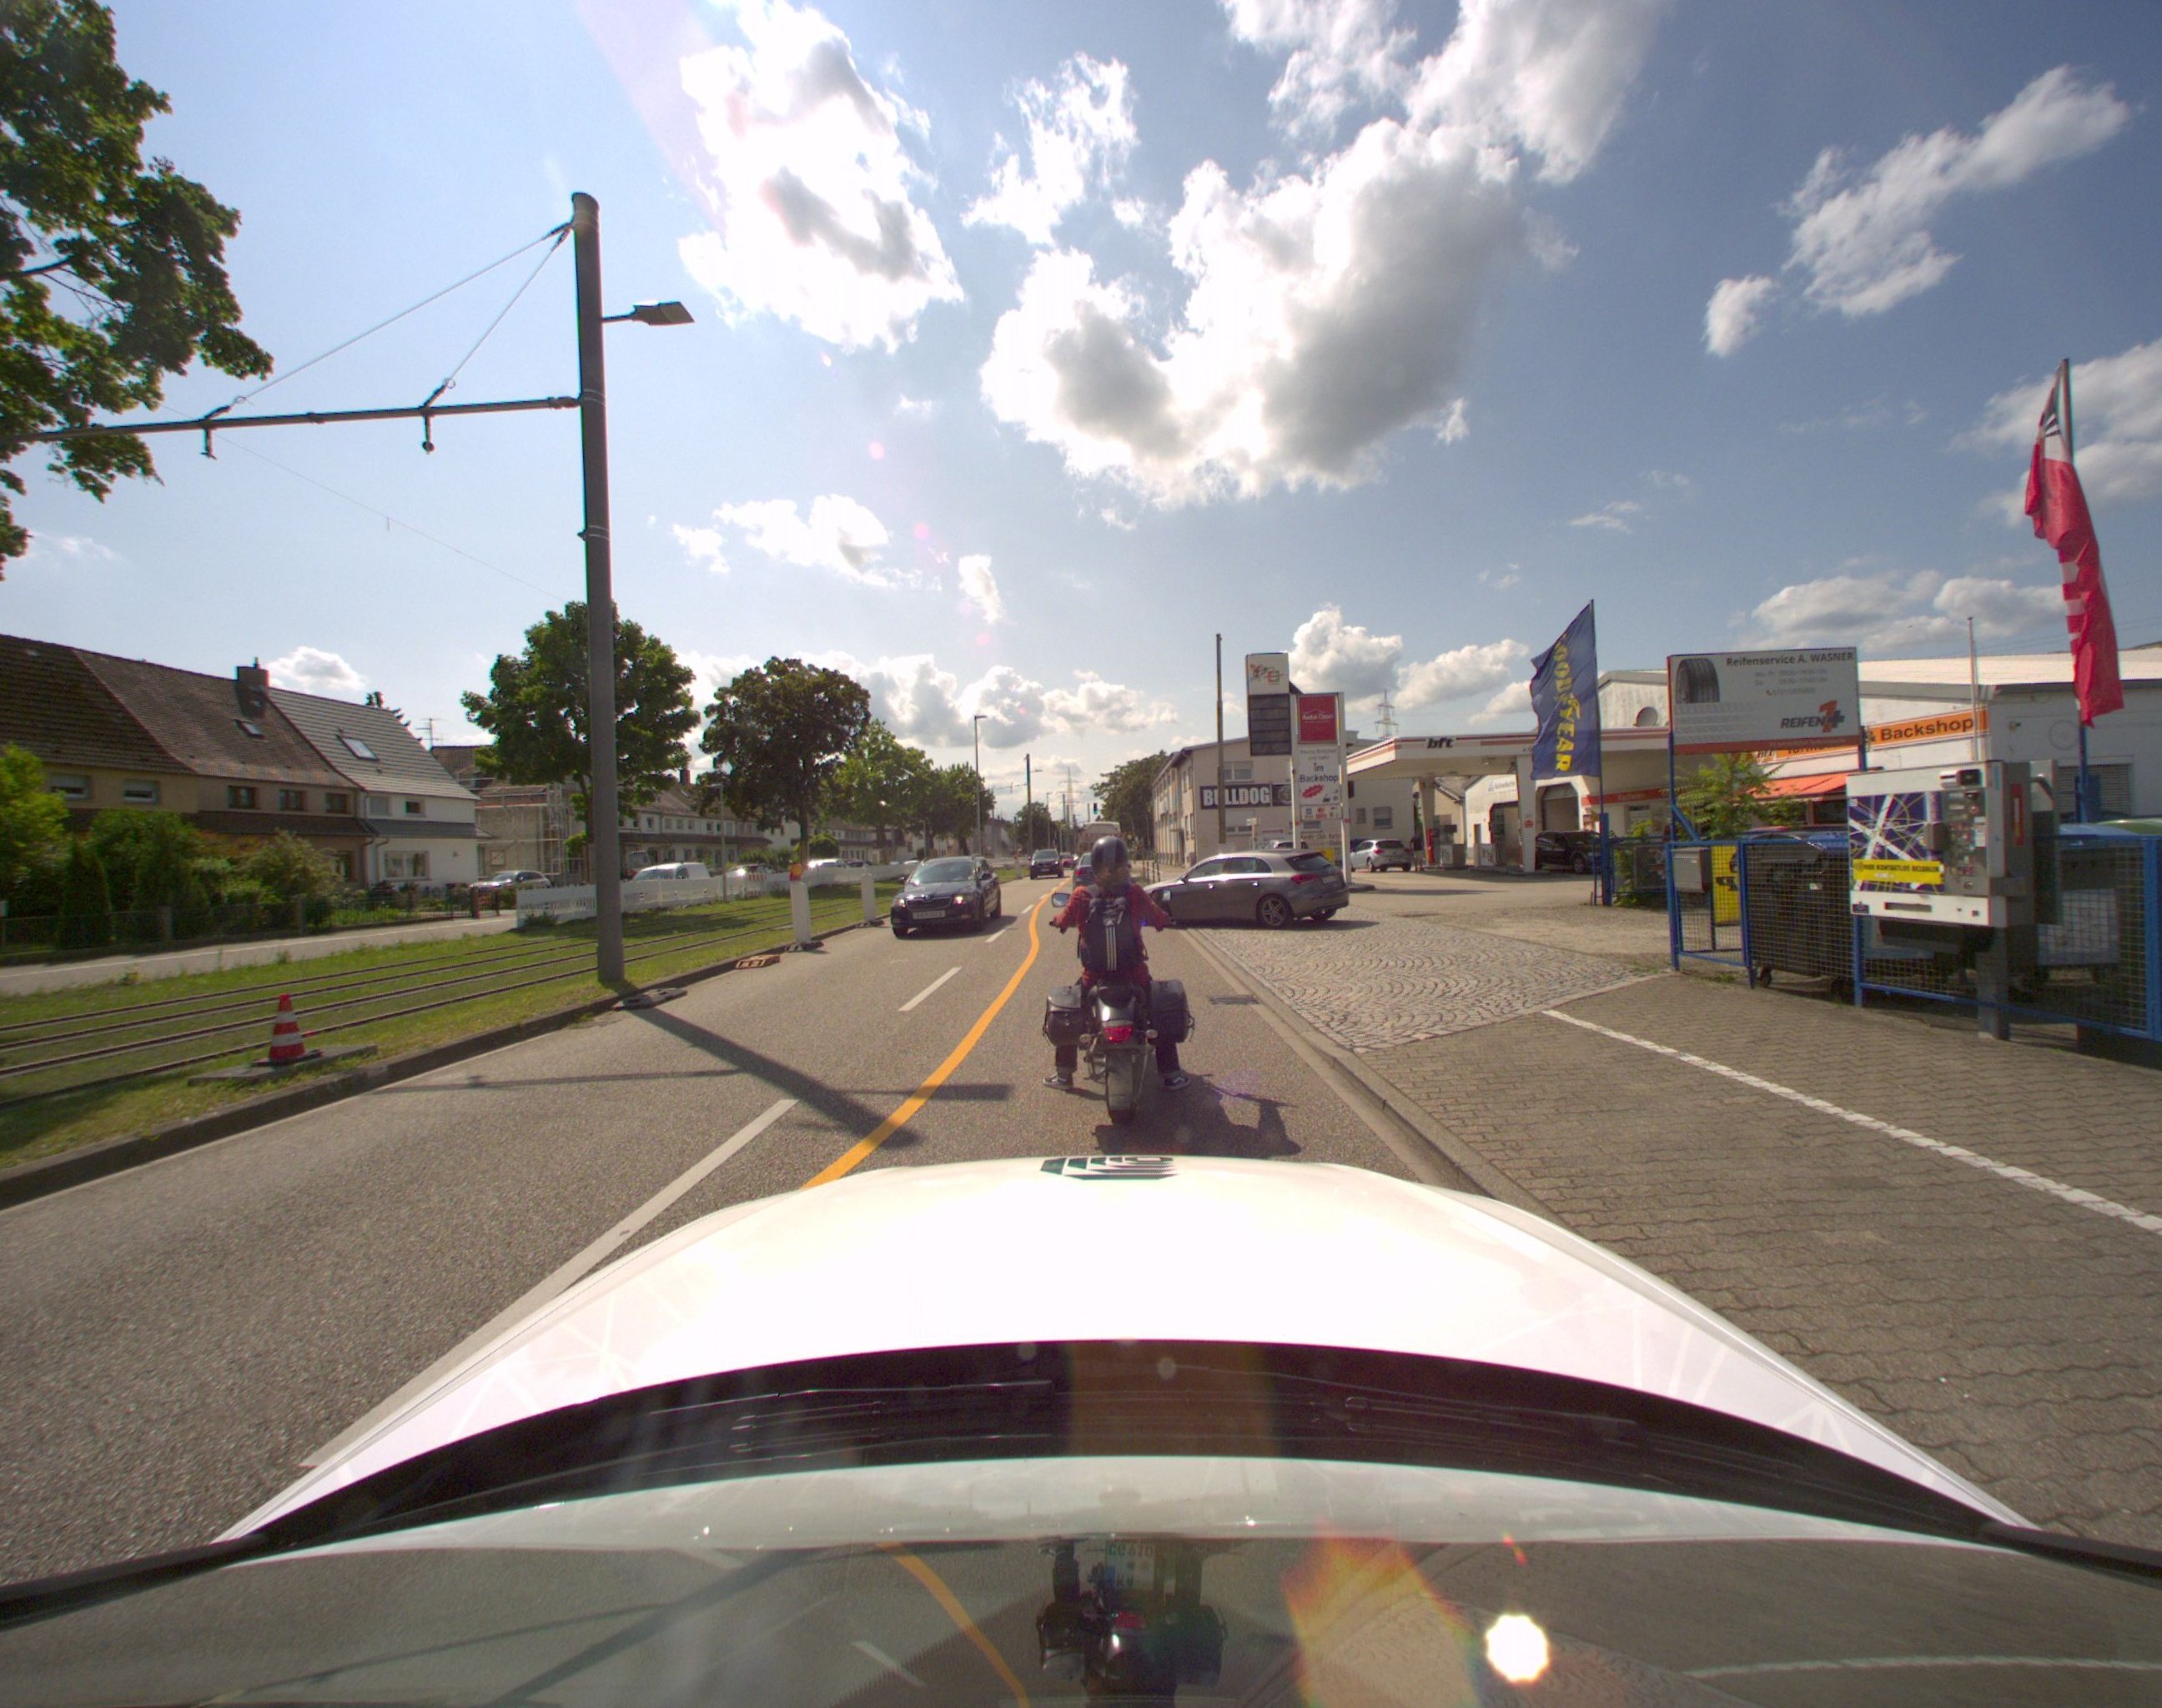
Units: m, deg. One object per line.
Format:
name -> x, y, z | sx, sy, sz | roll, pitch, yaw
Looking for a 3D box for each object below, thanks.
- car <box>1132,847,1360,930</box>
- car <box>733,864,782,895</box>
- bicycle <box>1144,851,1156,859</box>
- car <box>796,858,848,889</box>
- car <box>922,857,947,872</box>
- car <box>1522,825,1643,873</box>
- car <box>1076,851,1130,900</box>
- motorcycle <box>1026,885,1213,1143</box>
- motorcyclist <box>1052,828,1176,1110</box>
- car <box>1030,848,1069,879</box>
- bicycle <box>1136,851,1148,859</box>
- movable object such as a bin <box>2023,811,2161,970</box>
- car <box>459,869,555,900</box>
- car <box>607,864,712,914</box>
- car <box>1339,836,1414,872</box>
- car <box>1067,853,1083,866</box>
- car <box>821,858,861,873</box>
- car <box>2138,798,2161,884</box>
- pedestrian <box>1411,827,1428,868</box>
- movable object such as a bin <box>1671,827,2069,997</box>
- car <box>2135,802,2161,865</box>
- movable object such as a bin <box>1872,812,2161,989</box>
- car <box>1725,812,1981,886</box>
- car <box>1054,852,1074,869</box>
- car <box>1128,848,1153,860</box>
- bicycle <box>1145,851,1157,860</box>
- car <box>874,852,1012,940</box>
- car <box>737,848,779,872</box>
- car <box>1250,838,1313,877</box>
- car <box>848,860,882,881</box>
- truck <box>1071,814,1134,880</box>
car -> 3.105, 0.583, 15.834 | 4.035, 1.403, 1.747 | 0, 0, 43
car -> -15.091, 1.170, 38.051 | 1.067, 1.348, 2.452 | -3, -1, 5
bicycle -> 9.960, 0.150, 117.200 | 1.699, 1.172, 0.439 | 0, -1, 6
car -> -15.073, 1.126, 47.537 | 1.616, 1.651, 3.900 | -3, -1, 2
car -> -13.627, 0.994, 75.905 | 1.516, 1.354, 3.622 | 0, -1, 2
car -> 17.934, -0.223, 29.378 | 1.676, 1.519, 4.495 | -3, 1, 2
car -> 0.770, 0.638, 26.425 | 1.637, 1.444, 3.751 | 0, 0, 3
motorcycle -> 0.234, 0.859, 5.370 | 0.939, 1.200, 2.473 | 0, 0, 2
motorcyclist -> 0.196, 0.659, 4.993 | 0.695, 1.604, 0.692 | 0, -1, 1
car -> -1.852, 0.551, 48.729 | 1.788, 1.690, 4.226 | -3, -1, 4
bicycle -> 8.769, 0.183, 117.810 | 1.699, 1.172, 0.439 | 0, -1, 6
movable object such as a bin -> 10.351, 0.322, 7.408 | 1.526, 1.410, 1.765 | 0, -1, 1
car -> -27.319, 1.409, 38.912 | 1.528, 1.275, 4.122 | -3, -1, 2
car -> -15.478, 1.229, 30.138 | 1.647, 1.625, 4.002 | -3, -1, 2
car -> 13.481, 0.037, 37.396 | 1.687, 1.471, 4.421 | -3, -1, -1
car -> -0.739, 0.653, 99.109 | 1.815, 1.445, 4.484 | -3, -1, 1
car -> -27.032, 1.264, 91.877 | 3.973, 1.509, 1.726 | -3, 0, 0
car -> 19.574, -0.244, 12.531 | 4.029, 1.408, 1.651 | -1, 1, 8
pedestrian -> 14.708, -0.291, 35.375 | 0.495, 1.776, 0.577 | 0, -1, -1
movable object such as a bin -> 6.948, 0.471, 7.390 | 1.956, 1.347, 1.708 | 0, -1, 0
car -> 26.375, -0.559, 18.165 | 3.569, 1.424, 1.529 | -3, -1, 2
movable object such as a bin -> 8.797, 0.377, 7.392 | 1.526, 1.410, 1.765 | 0, -1, 1
car -> 17.732, -0.093, 18.856 | 4.118, 1.424, 1.772 | -3, -1, 2
car -> -1.537, 0.584, 73.445 | 1.572, 1.469, 3.721 | 0, -1, 2
car -> 9.976, -0.023, 136.251 | 4.022, 1.926, 1.781 | 0, -1, -43
bicycle -> 10.014, 0.198, 116.548 | 1.699, 1.172, 0.439 | 0, -1, 6
car -> -2.722, 0.770, 17.163 | 1.703, 1.486, 4.542 | -3, 0, 5
car -> -27.988, 0.535, 70.724 | 1.986, 2.014, 4.001 | 0, -1, 1
car -> 9.004, 0.132, 36.962 | 1.938, 1.625, 4.619 | -1, 0, 3
car -> -14.769, 1.113, 55.698 | 1.345, 1.377, 3.115 | -3, -1, 2
truck -> 1.290, -0.311, 43.594 | 2.954, 3.173, 7.773 | 0, -1, 4
